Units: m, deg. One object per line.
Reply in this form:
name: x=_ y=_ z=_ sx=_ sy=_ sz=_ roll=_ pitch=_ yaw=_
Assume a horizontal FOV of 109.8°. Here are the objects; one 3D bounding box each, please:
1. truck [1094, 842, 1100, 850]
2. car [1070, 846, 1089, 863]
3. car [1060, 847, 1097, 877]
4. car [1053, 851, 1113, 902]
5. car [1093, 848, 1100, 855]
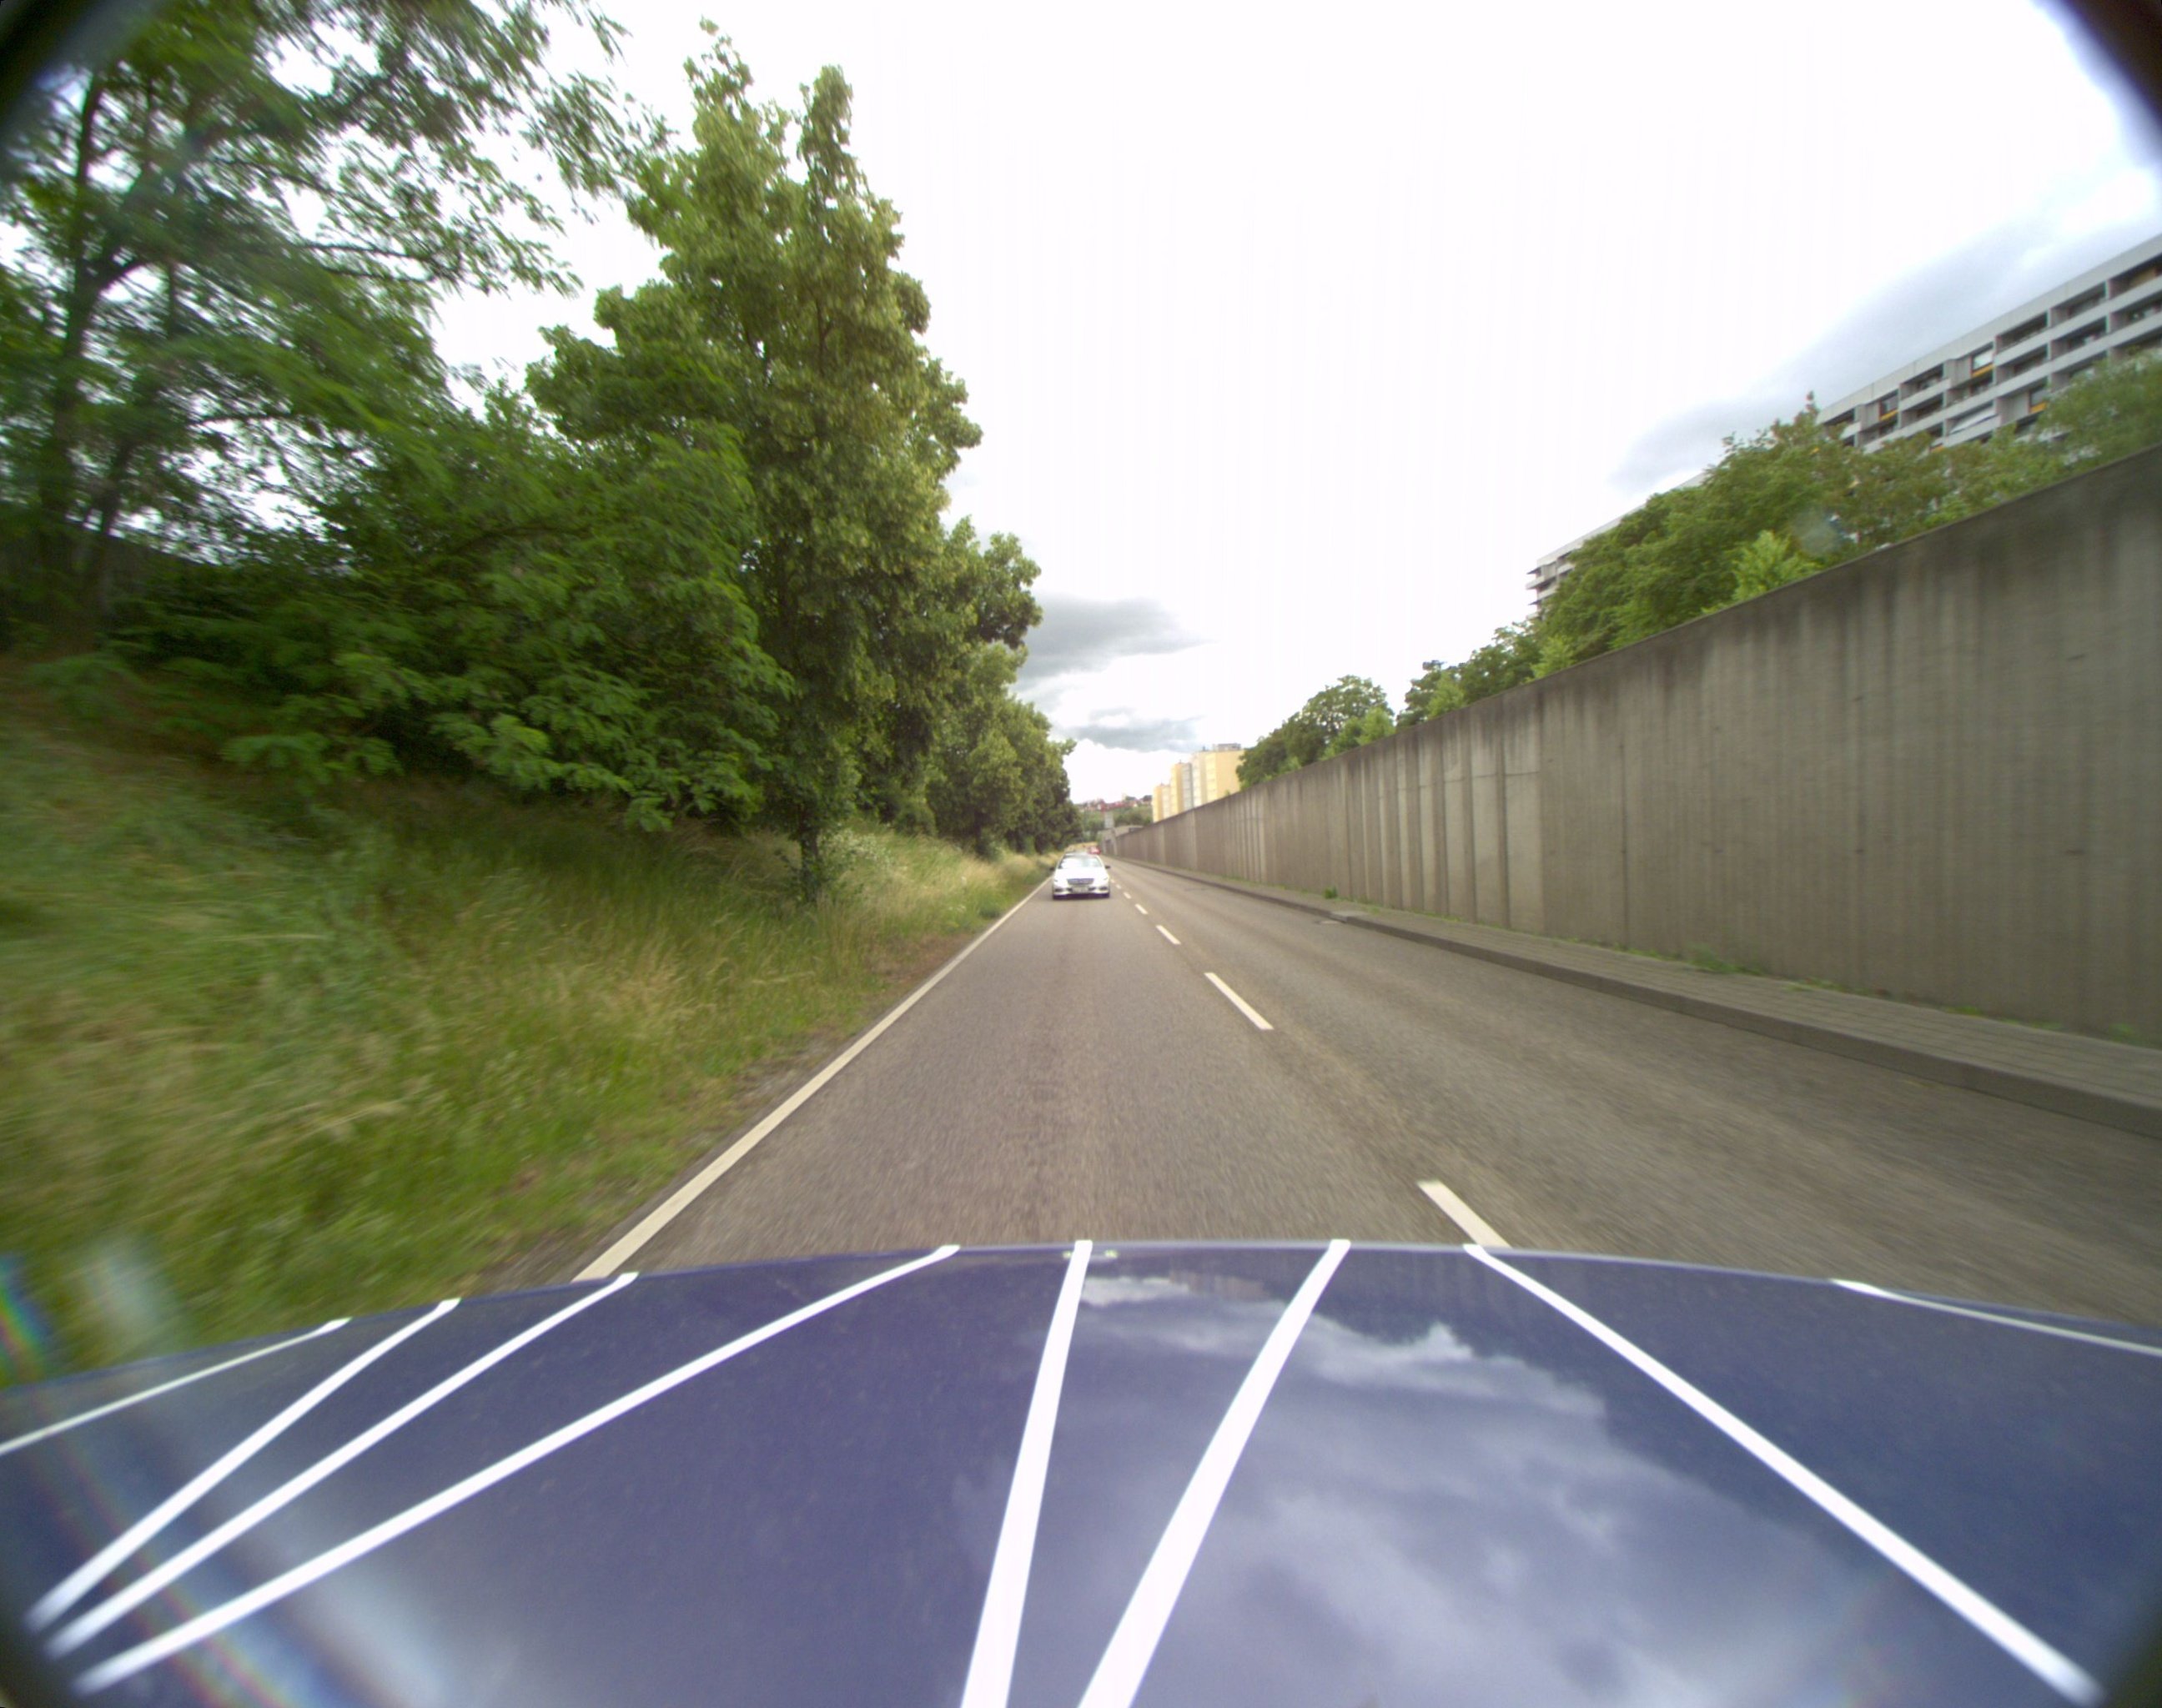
truck: x=4.457 y=-2.359 z=215.176 sx=1.593 sy=2.210 sz=3.999 roll=-2 pitch=1 yaw=1
car: x=-0.123 y=0.051 z=82.198 sx=1.998 sy=1.746 sz=4.000 roll=-2 pitch=1 yaw=1
car: x=-0.122 y=0.413 z=42.636 sx=1.878 sy=1.459 sz=3.999 roll=-2 pitch=1 yaw=0
car: x=0.076 y=0.708 z=26.090 sx=1.842 sy=1.499 sz=4.160 roll=-2 pitch=1 yaw=0
car: x=3.762 y=-0.585 z=186.141 sx=1.639 sy=1.478 sz=3.493 roll=-3 pitch=0 yaw=0
